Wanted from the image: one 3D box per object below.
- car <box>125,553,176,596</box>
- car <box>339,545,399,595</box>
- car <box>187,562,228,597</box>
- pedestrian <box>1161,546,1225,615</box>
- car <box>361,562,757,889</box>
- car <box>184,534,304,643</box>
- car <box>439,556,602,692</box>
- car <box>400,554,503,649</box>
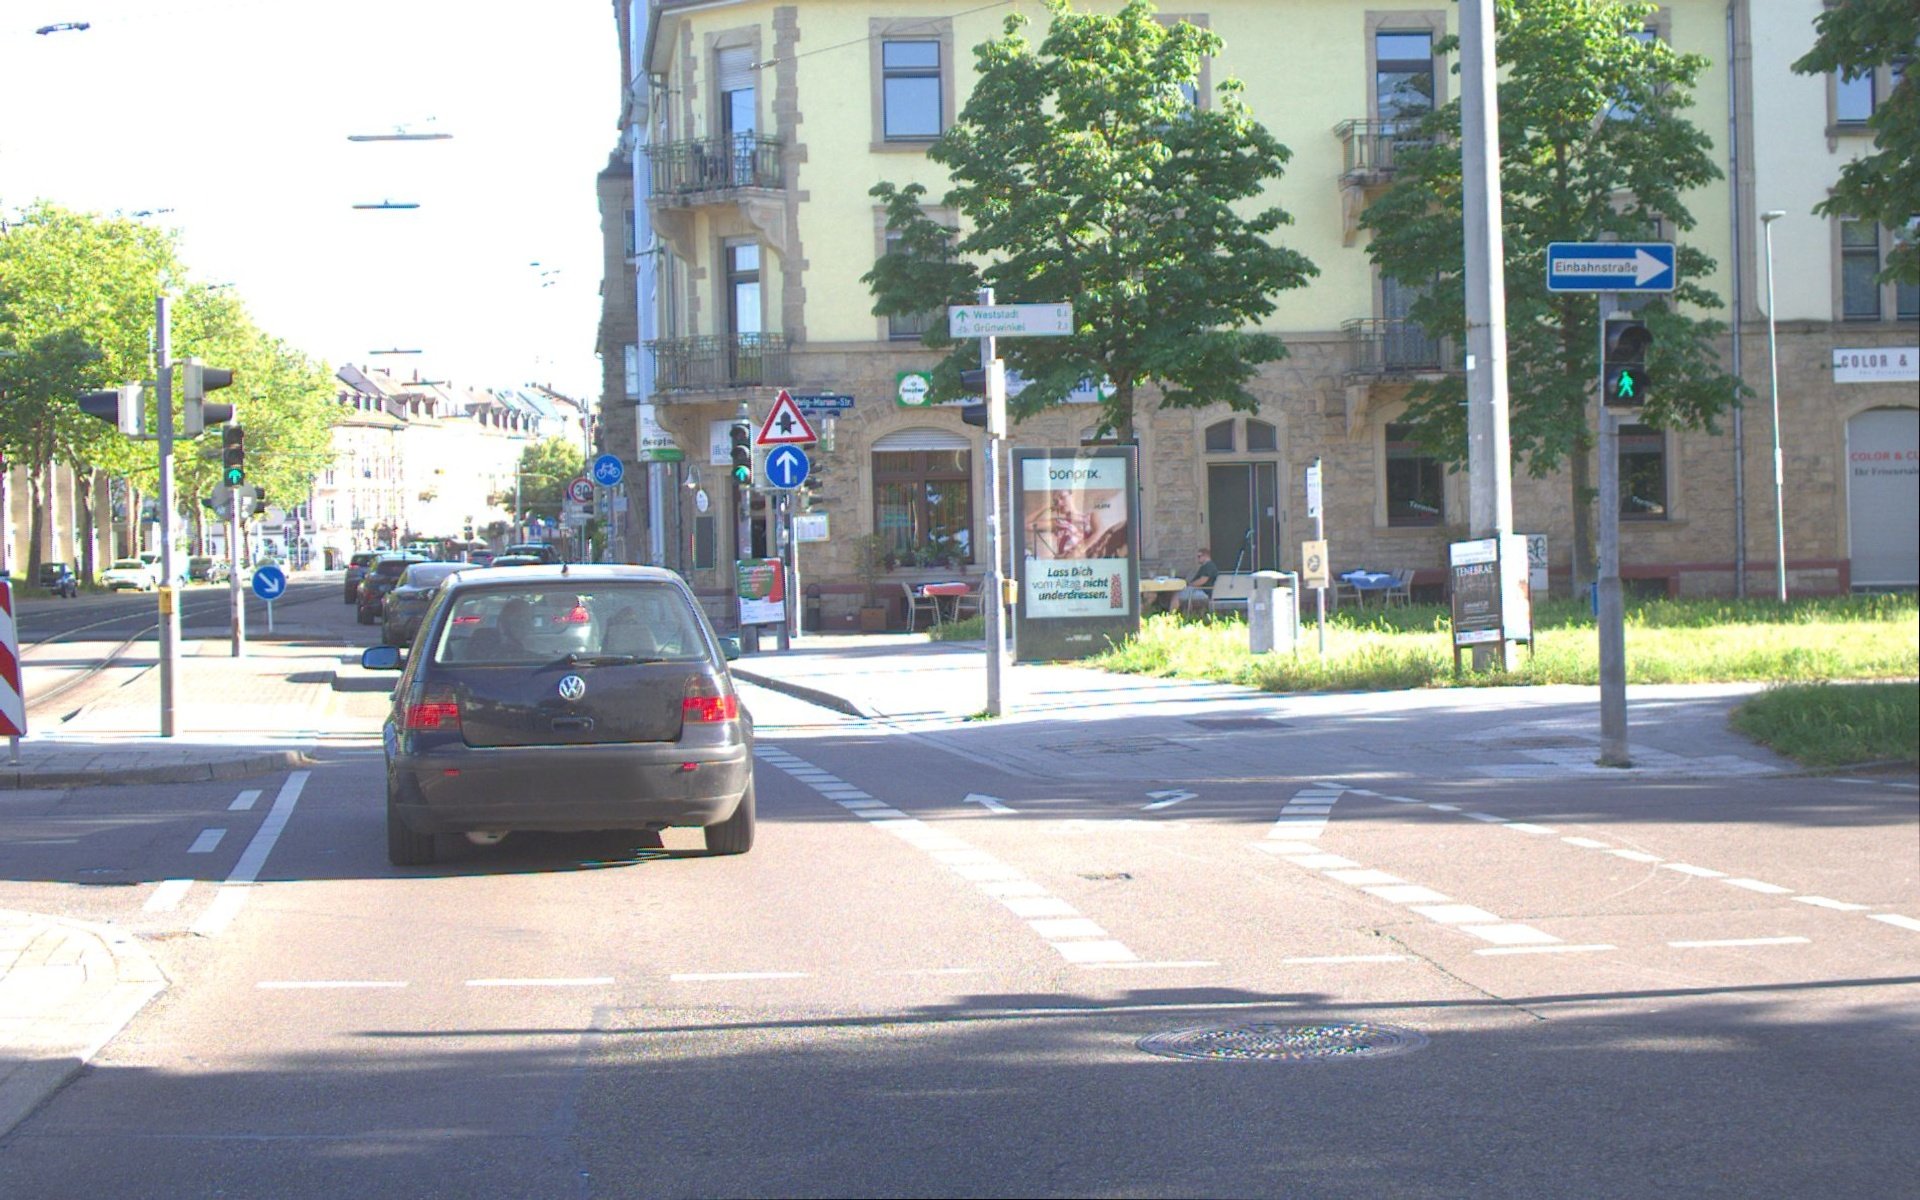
[{"bbox_3d":[-39.385,-1.242,167.351,1.993,2.007,4.001,-1,0,-8],"label":"car"},{"bbox_3d":[-18.168,-0.929,105.806,1.680,1.448,3.380,-2,1,-8],"label":"car"},{"bbox_3d":[-44.177,-1.192,201.856,1.993,2.007,4.001,-1,0,-8],"label":"car"},{"bbox_3d":[4.114,-0.345,60.812,0.979,1.183,0.743,-2,1,-7],"label":"pedestrian"},{"bbox_3d":[-1.994,0.530,17.232,1.715,1.398,4.007,-1,1,-6],"label":"car"},{"bbox_3d":[-12.699,-0.231,61.146,1.787,1.853,4.001,-1,1,-8],"label":"car"},{"bbox_3d":[-4.789,0.226,37.842,1.634,1.367,3.758,-2,1,-6],"label":"car"},{"bbox_3d":[-8.314,0.003,56.136,1.569,1.306,3.648,-2,3,-9],"label":"car"}]
